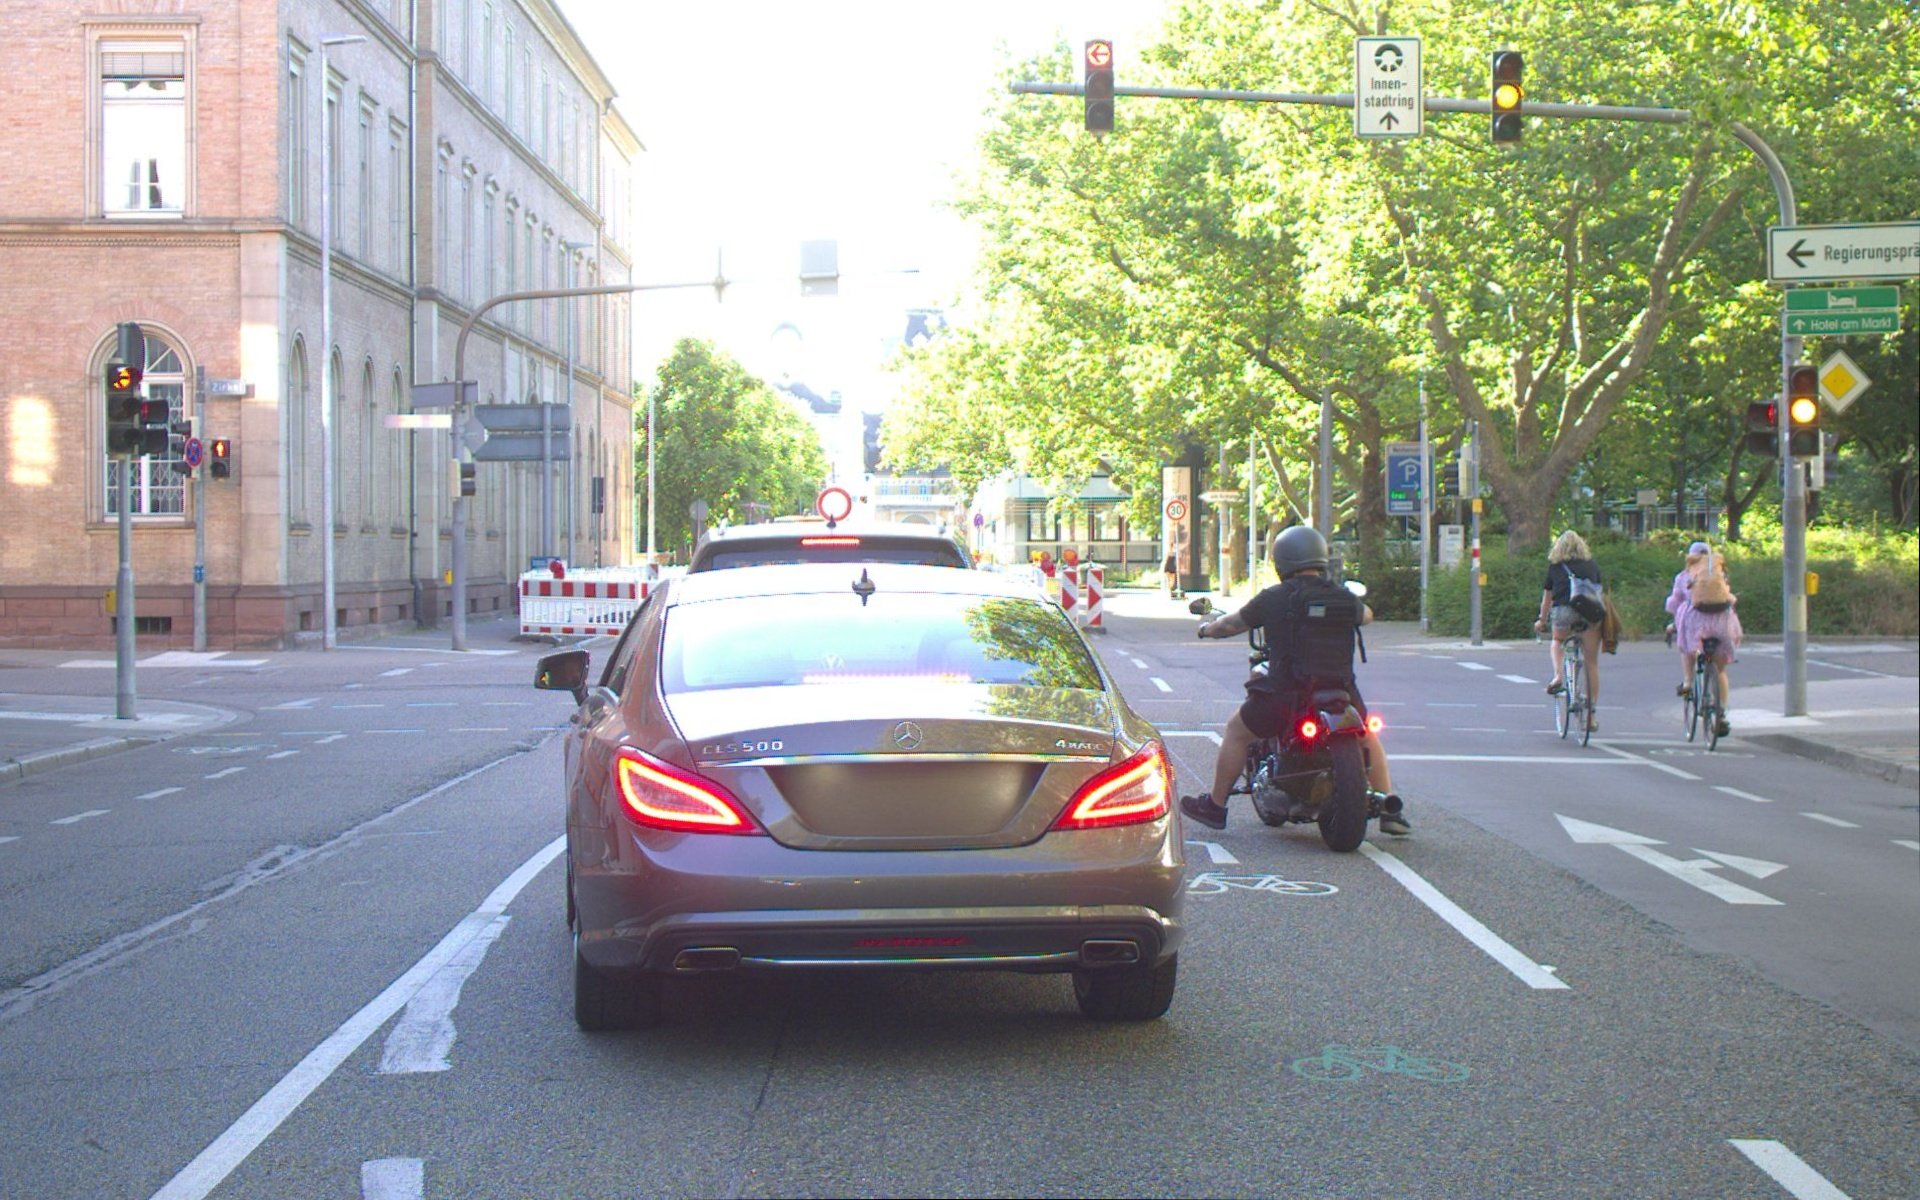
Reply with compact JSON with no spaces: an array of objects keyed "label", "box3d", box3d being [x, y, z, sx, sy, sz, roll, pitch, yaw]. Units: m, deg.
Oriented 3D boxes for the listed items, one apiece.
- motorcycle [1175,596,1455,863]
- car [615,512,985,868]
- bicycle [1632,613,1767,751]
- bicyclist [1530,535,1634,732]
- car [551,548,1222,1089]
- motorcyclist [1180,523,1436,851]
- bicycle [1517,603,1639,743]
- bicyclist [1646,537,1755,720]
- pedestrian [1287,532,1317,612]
[{"label":"motorcycle","box3d":[1.748,0.605,17.436,1.007,1.200,2.665,0,1,-3]},{"label":"car","box3d":[-0.790,0.379,17.584,1.681,1.619,3.841,0,1,-2]},{"label":"bicycle","box3d":[5.786,0.626,26.980,0.600,0.981,1.881,2,1,-1]},{"label":"bicyclist","box3d":[4.894,0.251,27.096,0.610,1.511,0.890,2,1,-1]},{"label":"car","box3d":[-0.450,0.564,11.652,1.821,1.471,4.354,0,1,-7]},{"label":"motorcyclist","box3d":[1.746,0.414,17.456,1.113,1.607,1.202,0,1,-3]},{"label":"bicycle","box3d":[4.881,0.562,27.245,0.610,1.023,1.731,2,1,-1]},{"label":"bicyclist","box3d":[5.806,0.210,26.991,0.600,1.397,0.931,2,1,-1]},{"label":"pedestrian","box3d":[7.186,-0.599,72.231,0.559,1.672,0.565,0,1,-1]}]
